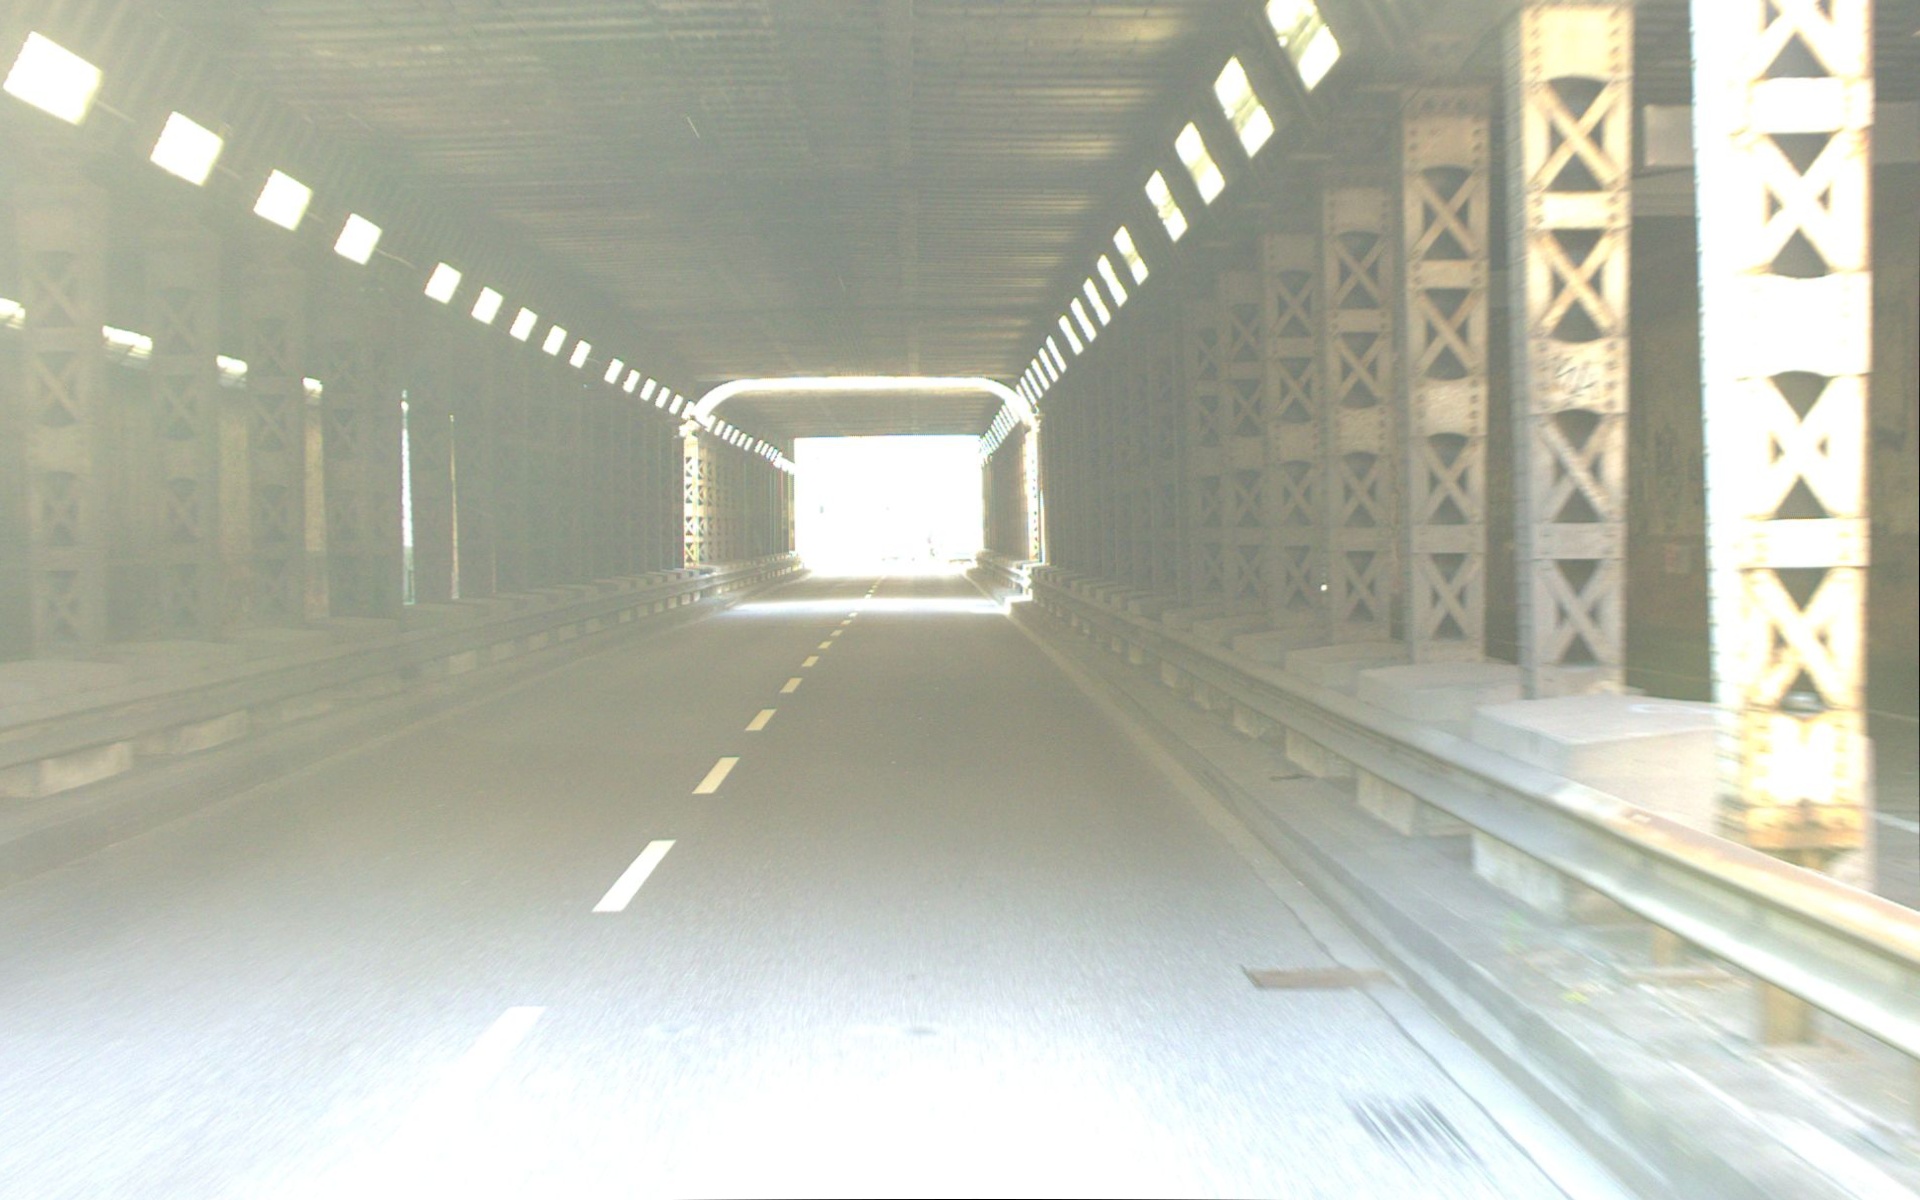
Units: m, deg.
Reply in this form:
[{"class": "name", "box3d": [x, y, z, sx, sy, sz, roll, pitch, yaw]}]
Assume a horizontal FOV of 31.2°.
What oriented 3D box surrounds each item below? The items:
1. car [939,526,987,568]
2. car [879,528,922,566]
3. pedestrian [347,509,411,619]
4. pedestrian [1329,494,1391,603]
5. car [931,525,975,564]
[{"class": "car", "box3d": [0.117, -2.296, 148.463, 1.993, 1.778, 4.000, -1, 1, -1]}, {"class": "car", "box3d": [-2.849, -2.529, 164.482, 1.993, 1.778, 4.000, -1, 1, -1]}, {"class": "pedestrian", "box3d": [-10.974, -0.677, 64.969, 0.958, 2.048, 1.355, 0, 0, 0]}, {"class": "pedestrian", "box3d": [6.362, -0.816, 54.765, 0.800, 1.696, 1.111, -2, 1, -1]}, {"class": "car", "box3d": [-0.345, -2.549, 157.893, 1.993, 1.778, 4.000, -1, 1, -1]}]
